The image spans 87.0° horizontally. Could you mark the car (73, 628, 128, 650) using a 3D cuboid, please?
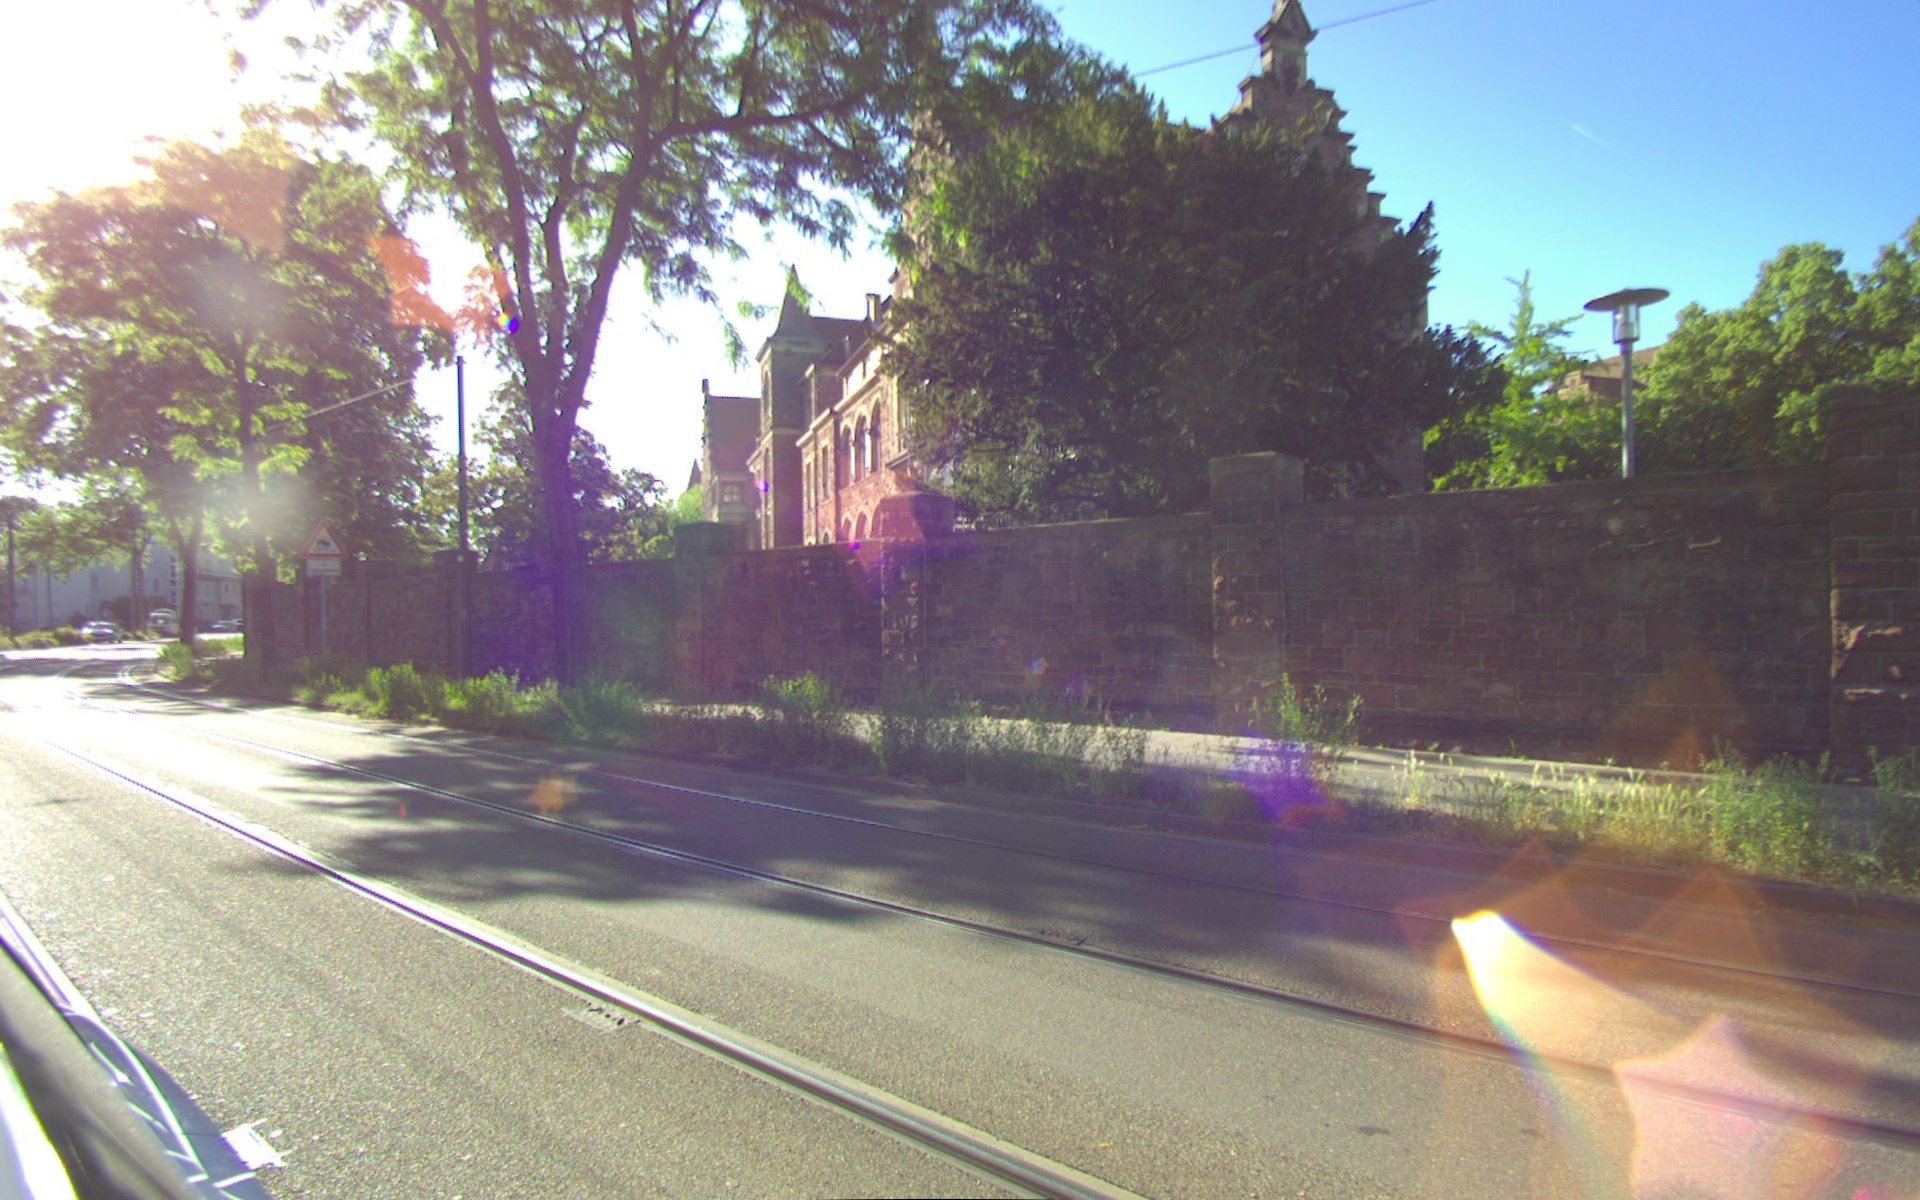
[{"bbox_3d":[-62.533,2.803,73.704,1.973,1.476,5.449,4,-3,-30],"label":"car"}]

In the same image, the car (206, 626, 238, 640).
[{"bbox_3d":[-85.371,3.858,117.113,1.714,1.507,4.544,-1,-1,-19],"label":"car"}]

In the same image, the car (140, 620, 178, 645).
[{"bbox_3d":[-71.120,2.856,89.962,1.966,2.111,4.730,0,-1,-30],"label":"car"}]
